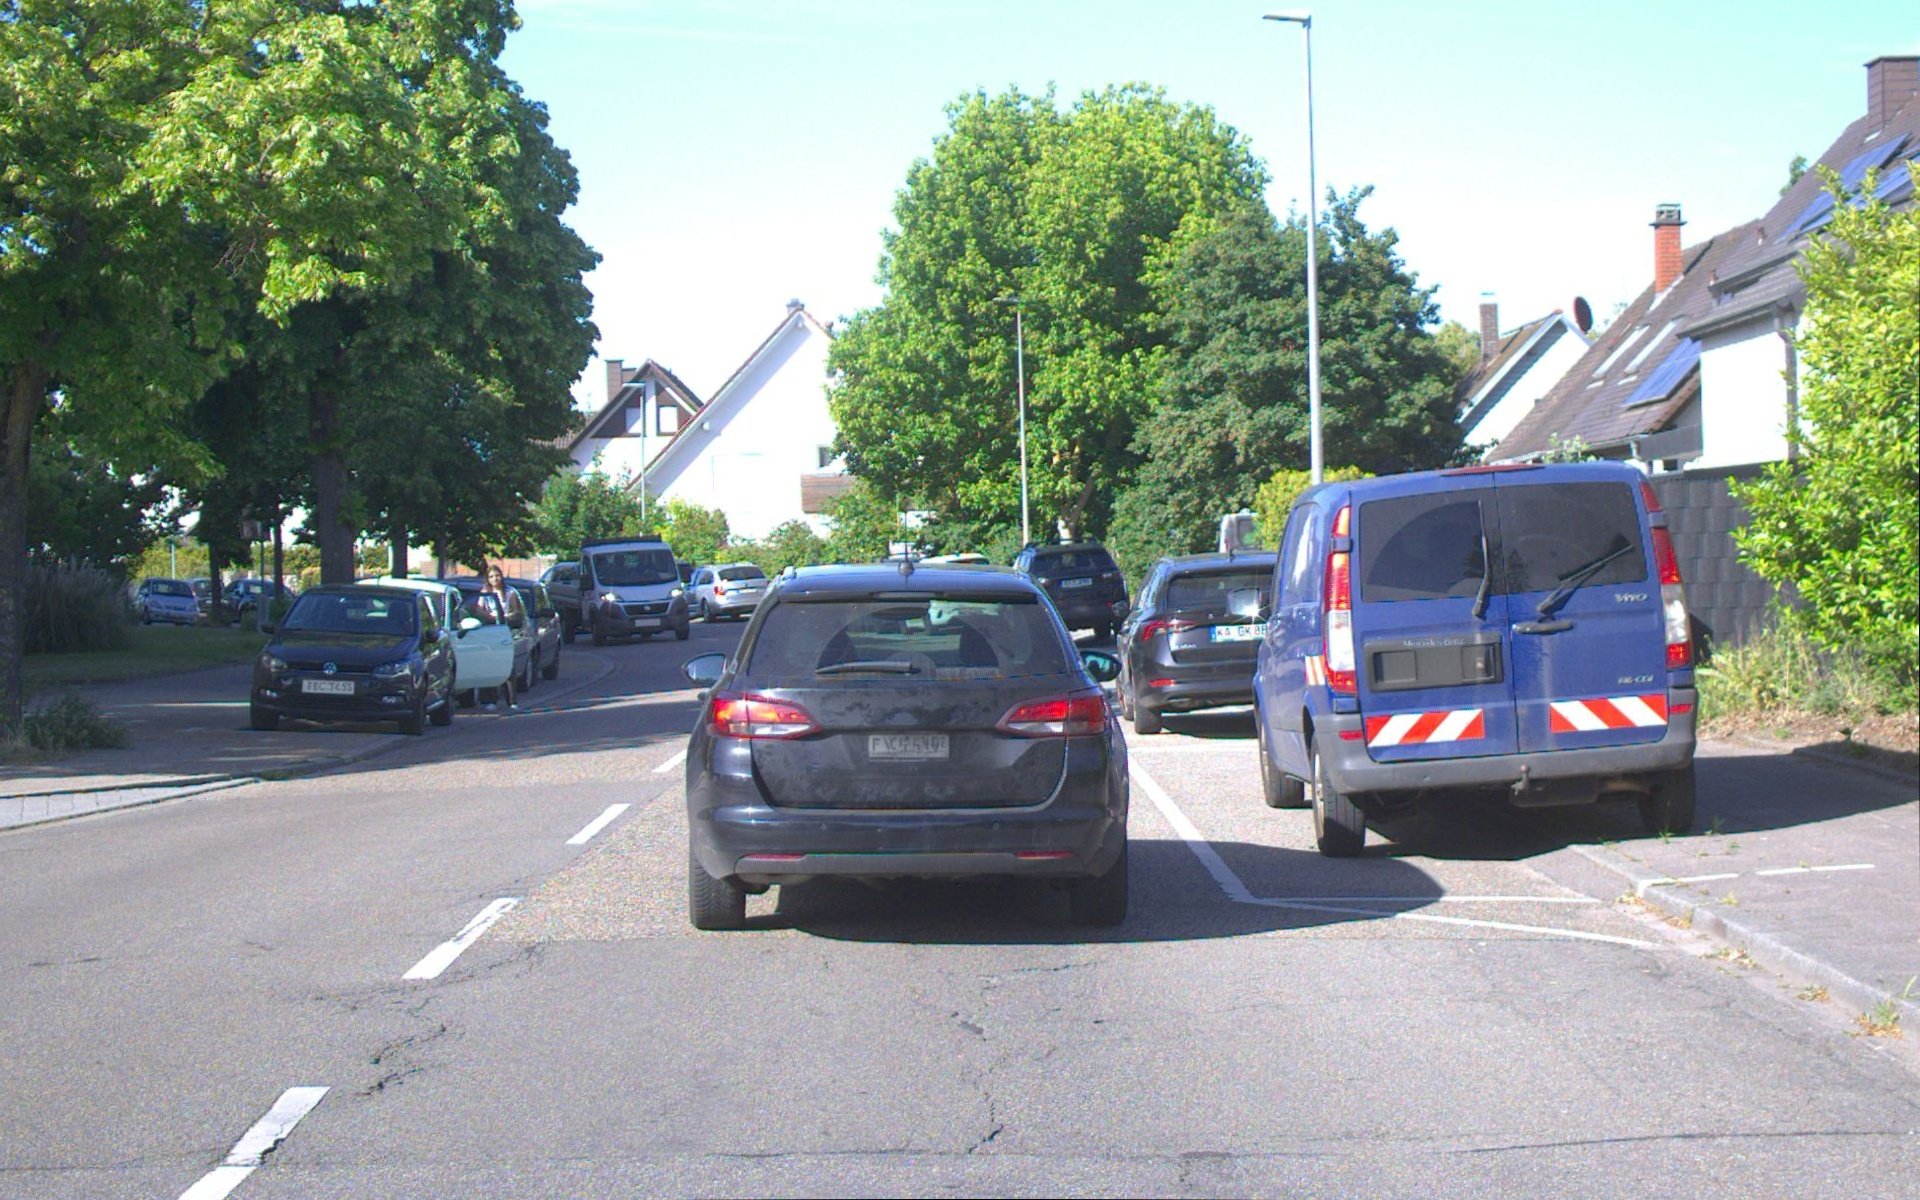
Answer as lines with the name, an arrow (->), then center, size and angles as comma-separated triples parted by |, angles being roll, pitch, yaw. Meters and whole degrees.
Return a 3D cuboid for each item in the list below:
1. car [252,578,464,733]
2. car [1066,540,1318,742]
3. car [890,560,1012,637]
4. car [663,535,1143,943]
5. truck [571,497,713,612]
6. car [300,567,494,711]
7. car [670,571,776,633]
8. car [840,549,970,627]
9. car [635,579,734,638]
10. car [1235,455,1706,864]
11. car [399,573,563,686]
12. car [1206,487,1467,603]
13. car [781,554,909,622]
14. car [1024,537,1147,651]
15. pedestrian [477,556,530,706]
car -> -6.099, 0.564, 35.195 | 1.700, 1.475, 4.052 | 0, -1, -4
car -> 1.910, 0.282, 29.663 | 1.765, 1.475, 4.992 | -3, 1, 0
car -> -0.222, -0.027, 72.362 | 1.760, 1.475, 4.295 | -3, 0, -11
car -> -0.230, 0.511, 14.996 | 1.761, 1.486, 4.291 | -1, 0, 0
truck -> -6.991, -1.007, 76.252 | 2.130, 2.326, 6.442 | -3, 1, 3
car -> -6.616, 0.469, 40.752 | 1.700, 1.518, 4.052 | -4, -1, -2
car -> -6.292, 0.069, 91.025 | 1.819, 1.529, 4.260 | -3, 0, -17
car -> -1.268, -0.249, 76.753 | 1.911, 1.595, 4.295 | -3, 0, -14
car -> -7.727, 0.238, 95.967 | 1.819, 1.529, 4.260 | -3, 0, -17
car -> 2.629, 0.249, 18.778 | 1.836, 1.901, 4.698 | -2, 1, 0
car -> -6.767, 0.389, 48.914 | 1.657, 1.505, 4.000 | -2, 0, 1
car -> 7.213, -1.051, 66.209 | 4.680, 1.977, 2.143 | -3, 0, 0
car -> -2.781, -0.268, 82.321 | 2.005, 1.470, 4.295 | -3, 0, -16
car -> 2.019, -0.111, 56.350 | 1.778, 1.718, 4.294 | -3, 0, 0
pedestrian -> -5.474, 0.375, 41.260 | 0.504, 1.755, 0.695 | -3, -1, -4
